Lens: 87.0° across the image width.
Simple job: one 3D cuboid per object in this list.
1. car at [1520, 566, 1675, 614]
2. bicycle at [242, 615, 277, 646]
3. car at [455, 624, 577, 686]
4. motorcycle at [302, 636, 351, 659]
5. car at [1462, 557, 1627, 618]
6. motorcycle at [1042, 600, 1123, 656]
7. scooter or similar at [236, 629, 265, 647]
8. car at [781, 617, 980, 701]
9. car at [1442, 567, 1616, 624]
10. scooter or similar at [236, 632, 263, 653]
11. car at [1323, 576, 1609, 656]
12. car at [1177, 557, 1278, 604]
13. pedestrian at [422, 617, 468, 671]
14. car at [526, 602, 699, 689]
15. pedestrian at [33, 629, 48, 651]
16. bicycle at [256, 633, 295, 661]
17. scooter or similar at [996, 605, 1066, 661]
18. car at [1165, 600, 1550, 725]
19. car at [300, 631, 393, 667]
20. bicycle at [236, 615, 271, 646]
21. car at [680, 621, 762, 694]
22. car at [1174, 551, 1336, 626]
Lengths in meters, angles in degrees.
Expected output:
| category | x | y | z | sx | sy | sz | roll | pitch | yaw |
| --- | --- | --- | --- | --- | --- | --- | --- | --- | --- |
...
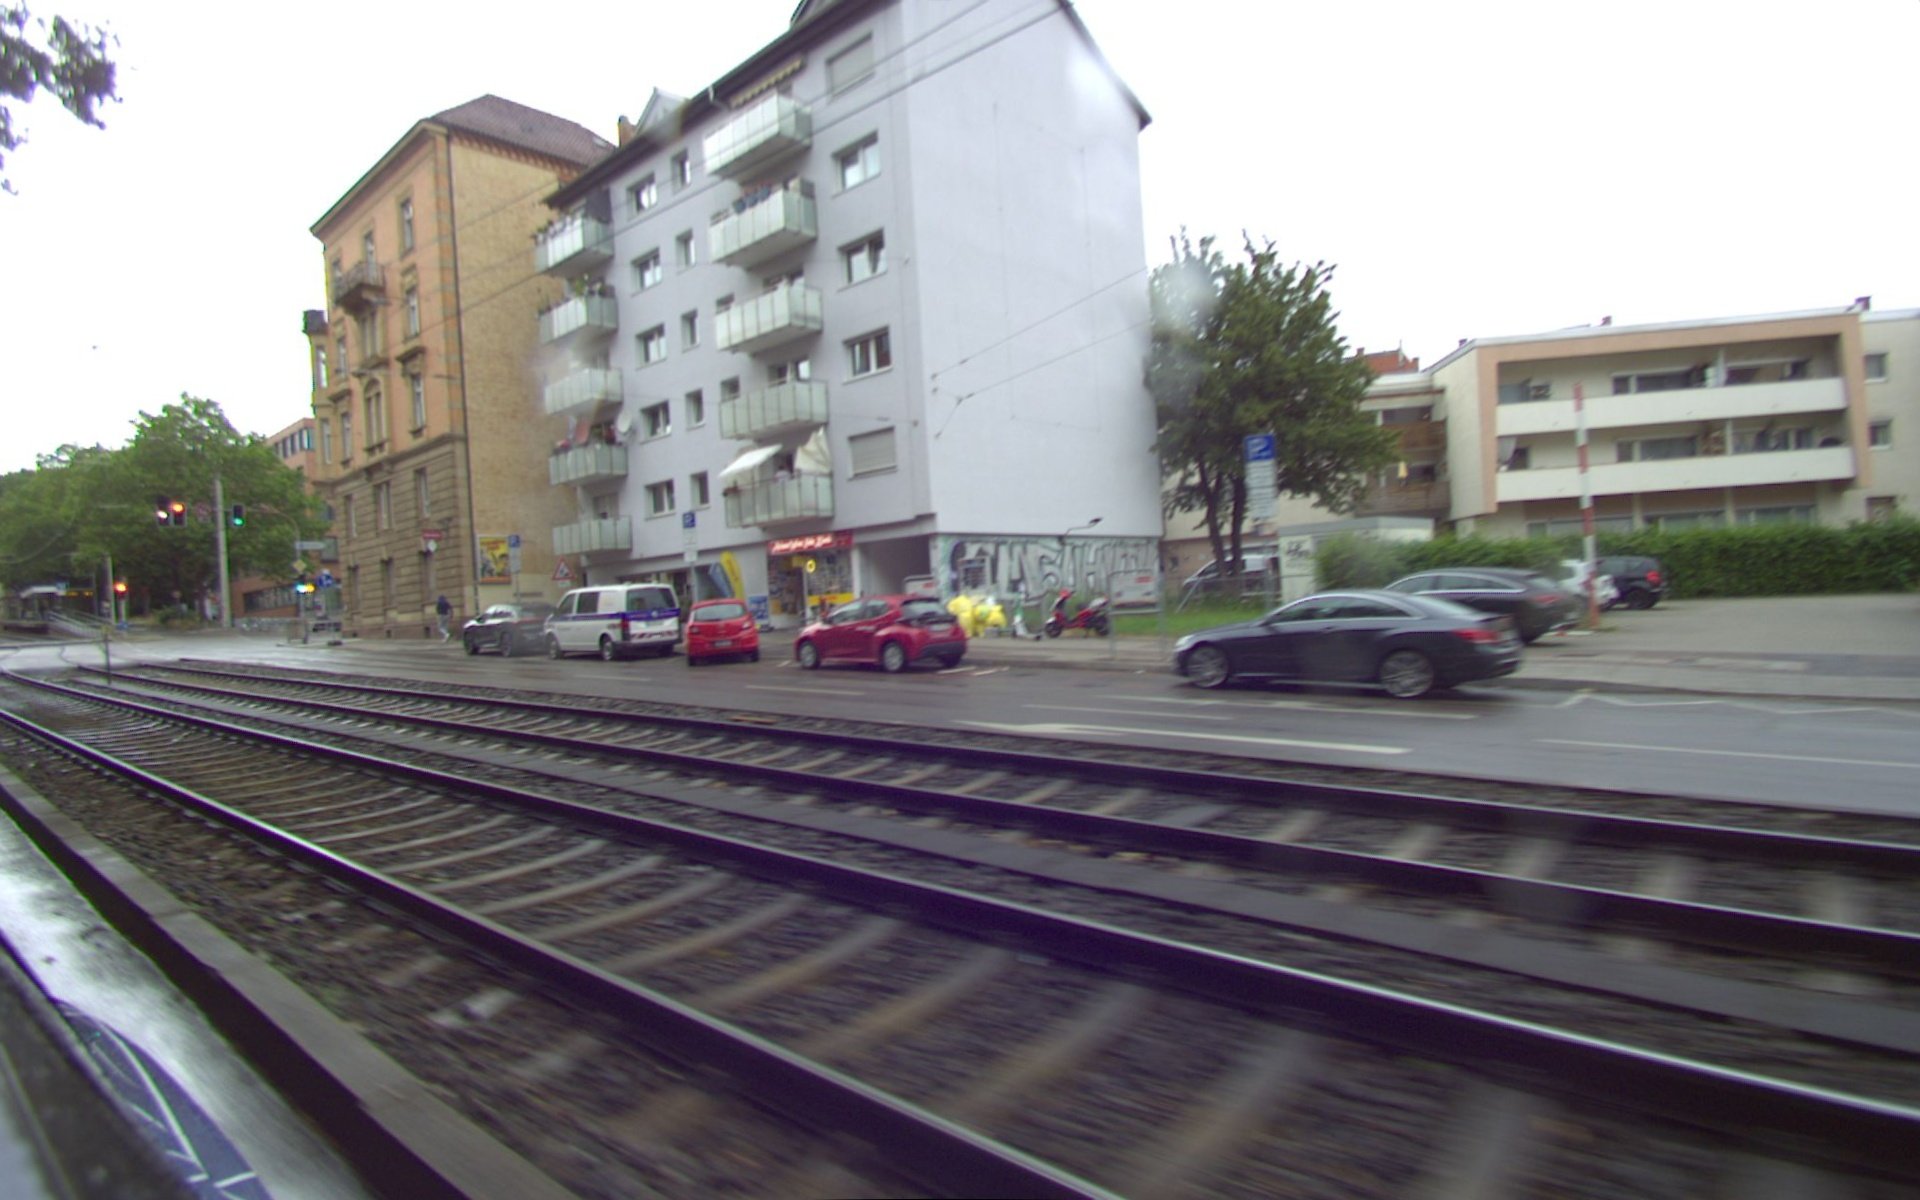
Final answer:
| category | x | y | z | sx | sy | sz | roll | pitch | yaw |
| --- | --- | --- | --- | --- | --- | --- | --- | --- | --- |
| car | 19.473 | -0.302 | 30.993 | 3.743 | 1.351 | 1.650 | -1 | 2 | 44 |
| bicycle | -48.339 | 2.091 | 69.866 | 0.517 | 2.028 | 1.874 | -2 | 1 | 35 |
| car | -13.804 | 1.667 | 31.342 | 4.362 | 1.663 | 1.715 | -2 | 1 | 42 |
| motorcycle | -42.388 | 3.160 | 67.740 | 0.864 | 1.381 | 2.627 | -1 | 0 | 35 |
| car | 17.199 | -0.364 | 29.882 | 1.648 | 1.645 | 3.907 | -3 | 2 | -43 |
| motorcycle | 2.853 | 0.640 | 23.717 | 1.783 | 1.209 | 0.633 | 0 | 5 | 41 |
| scooter or similar | -50.094 | 2.681 | 71.461 | 0.475 | 1.203 | 1.707 | -2 | 0 | 21 |
| car | -1.679 | 1.133 | 20.479 | 4.073 | 1.462 | 1.636 | -2 | 0 | 42 |
| car | 15.626 | -0.107 | 27.898 | 3.902 | 1.411 | 1.651 | -2 | 1 | 41 |
| scooter or similar | -50.541 | 3.002 | 71.964 | 0.450 | 1.381 | 1.494 | -2 | 1 | 25 |
| car | 9.487 | 0.332 | 19.272 | 1.848 | 1.313 | 4.483 | -3 | 0 | -41 |
| car | 12.266 | -0.889 | 46.519 | 4.044 | 1.877 | 1.699 | -4 | 0 | 39 |
| pedestrian | -19.442 | 1.647 | 38.181 | 1.178 | 1.943 | 1.158 | -2 | 1 | 44 |
| car | -9.635 | 1.223 | 27.793 | 5.300 | 2.023 | 2.049 | -3 | 3 | 42 |
| pedestrian | -87.683 | 3.811 | 96.504 | 0.883 | 2.078 | 0.827 | -2 | 0 | 38 |
| bicycle | -46.441 | 3.198 | 68.719 | 0.555 | 1.710 | 2.072 | -3 | 0 | 35 |
| scooter or similar | 1.639 | 0.767 | 23.676 | 0.614 | 1.209 | 1.900 | -5 | 1 | -28 |
| car | 5.305 | 0.785 | 13.925 | 4.619 | 1.406 | 1.662 | -2 | 0 | 41 |
| car | -30.764 | 2.415 | 50.890 | 1.763 | 1.549 | 3.777 | -2 | 0 | 17 |
| bicycle | -49.158 | 2.116 | 70.434 | 0.517 | 2.028 | 1.874 | -2 | 1 | 35 |
| car | -5.897 | 1.331 | 24.843 | 1.756 | 1.444 | 3.993 | -3 | 1 | -14 |
| car | 8.266 | -0.284 | 28.530 | 3.999 | 1.836 | 1.668 | -4 | -2 | 43 |
